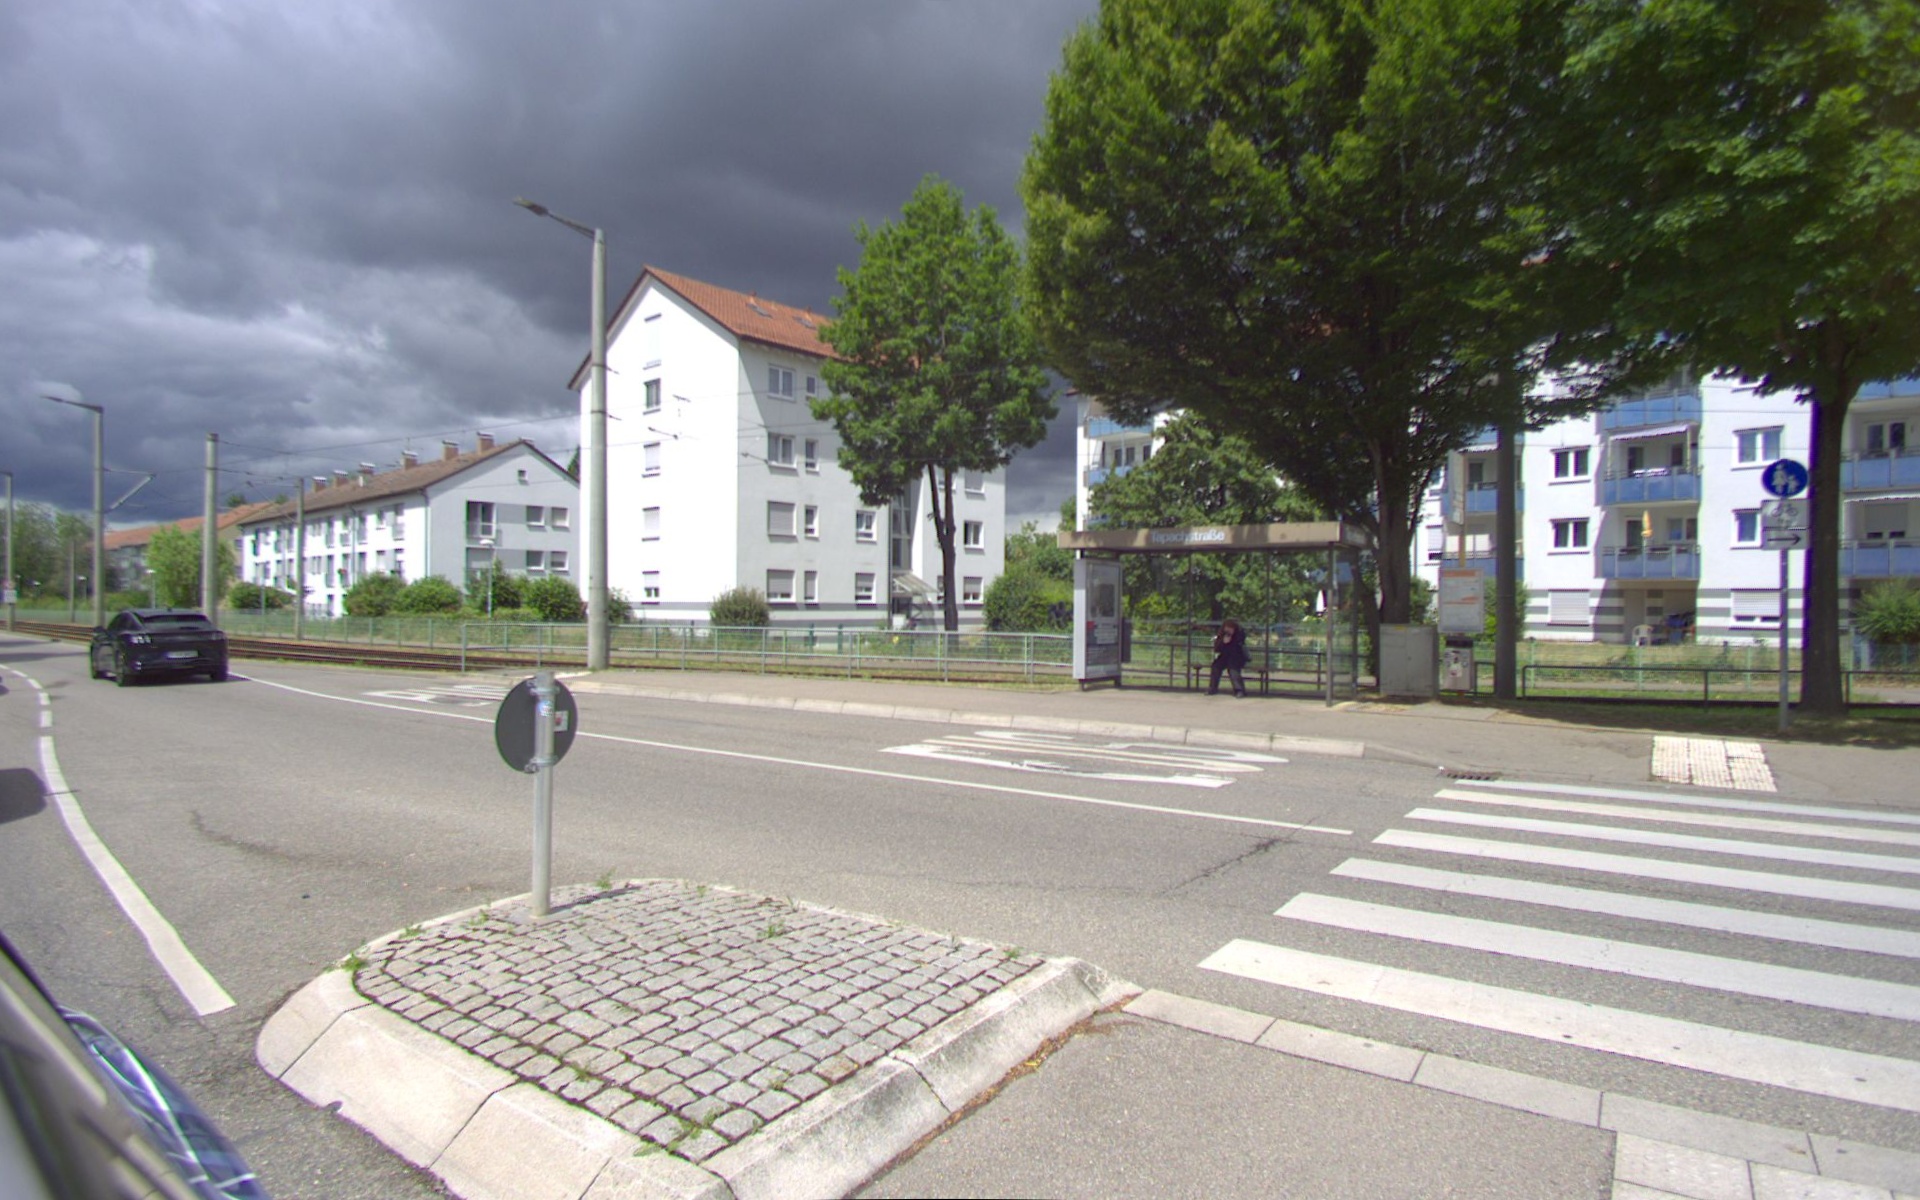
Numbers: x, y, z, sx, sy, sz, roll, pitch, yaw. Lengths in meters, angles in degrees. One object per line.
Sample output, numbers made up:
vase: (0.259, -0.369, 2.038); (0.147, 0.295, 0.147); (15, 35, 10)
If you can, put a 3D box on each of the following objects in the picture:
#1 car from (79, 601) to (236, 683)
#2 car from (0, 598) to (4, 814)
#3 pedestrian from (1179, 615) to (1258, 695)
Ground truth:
car: (-17.783, 0.856, 22.353); (4.523, 1.537, 1.972); (2, 0, 42)
car: (-9.037, 0.809, 8.036); (3.998, 1.569, 1.743); (-2, -2, 41)
pedestrian: (3.878, 0.800, 15.190); (0.910, 1.144, 0.791); (0, 0, 38)
